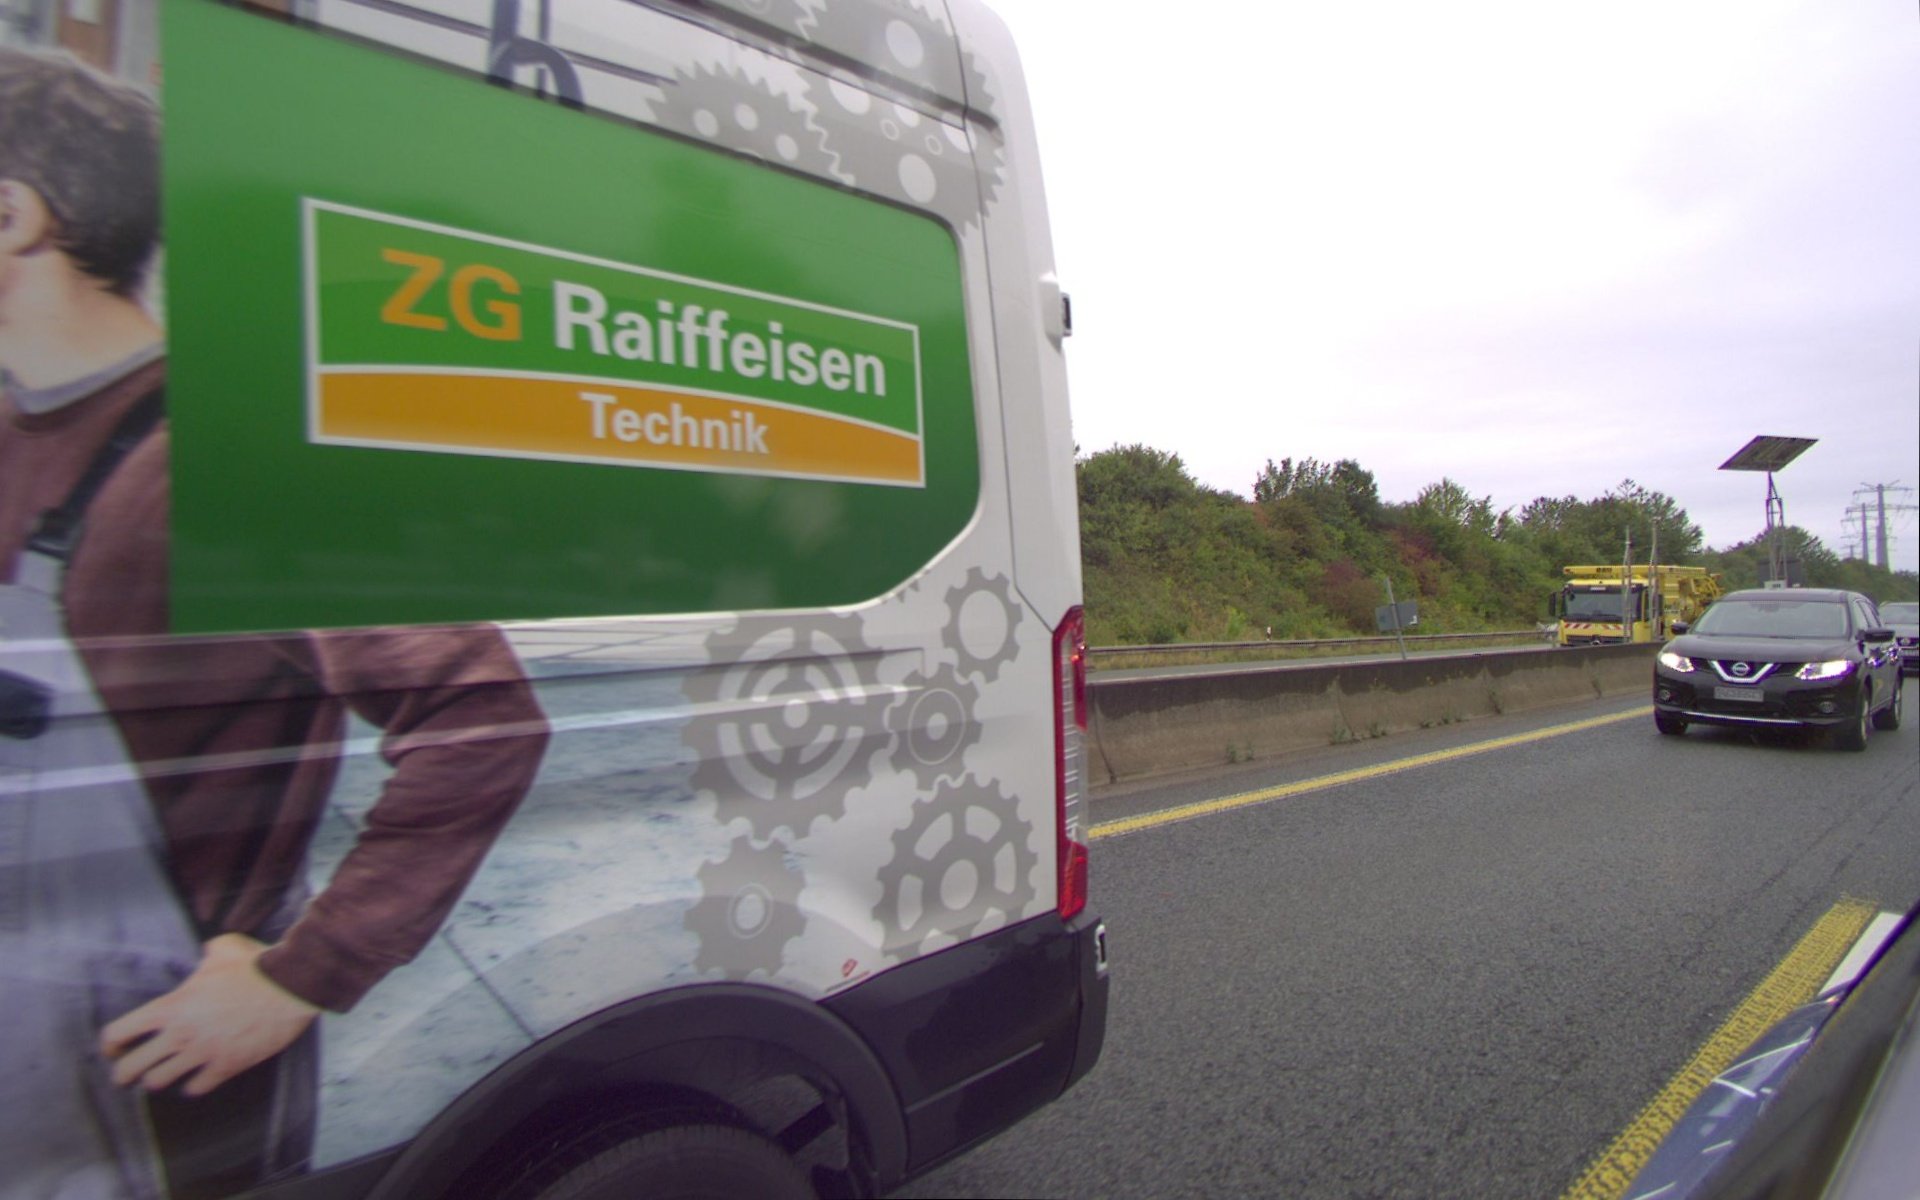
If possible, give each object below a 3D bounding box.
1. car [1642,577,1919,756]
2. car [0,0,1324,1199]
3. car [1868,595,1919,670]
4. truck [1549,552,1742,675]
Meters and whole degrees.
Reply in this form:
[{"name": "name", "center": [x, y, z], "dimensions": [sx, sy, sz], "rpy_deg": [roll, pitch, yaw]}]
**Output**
[{"name": "car", "center": [9.727, 0.607, 11.811], "dimensions": [4.561, 1.696, 1.892], "rpy_deg": [0, 1, -42]}, {"name": "car", "center": [-2.169, 0.001, 1.180], "dimensions": [6.008, 2.709, 2.149], "rpy_deg": [0, 0, -40]}, {"name": "car", "center": [21.163, 0.652, 21.950], "dimensions": [4.053, 1.509, 1.782], "rpy_deg": [0, 1, -42]}, {"name": "truck", "center": [22.192, 0.327, 32.487], "dimensions": [9.405, 3.467, 2.618], "rpy_deg": [0, 0, -40]}]
